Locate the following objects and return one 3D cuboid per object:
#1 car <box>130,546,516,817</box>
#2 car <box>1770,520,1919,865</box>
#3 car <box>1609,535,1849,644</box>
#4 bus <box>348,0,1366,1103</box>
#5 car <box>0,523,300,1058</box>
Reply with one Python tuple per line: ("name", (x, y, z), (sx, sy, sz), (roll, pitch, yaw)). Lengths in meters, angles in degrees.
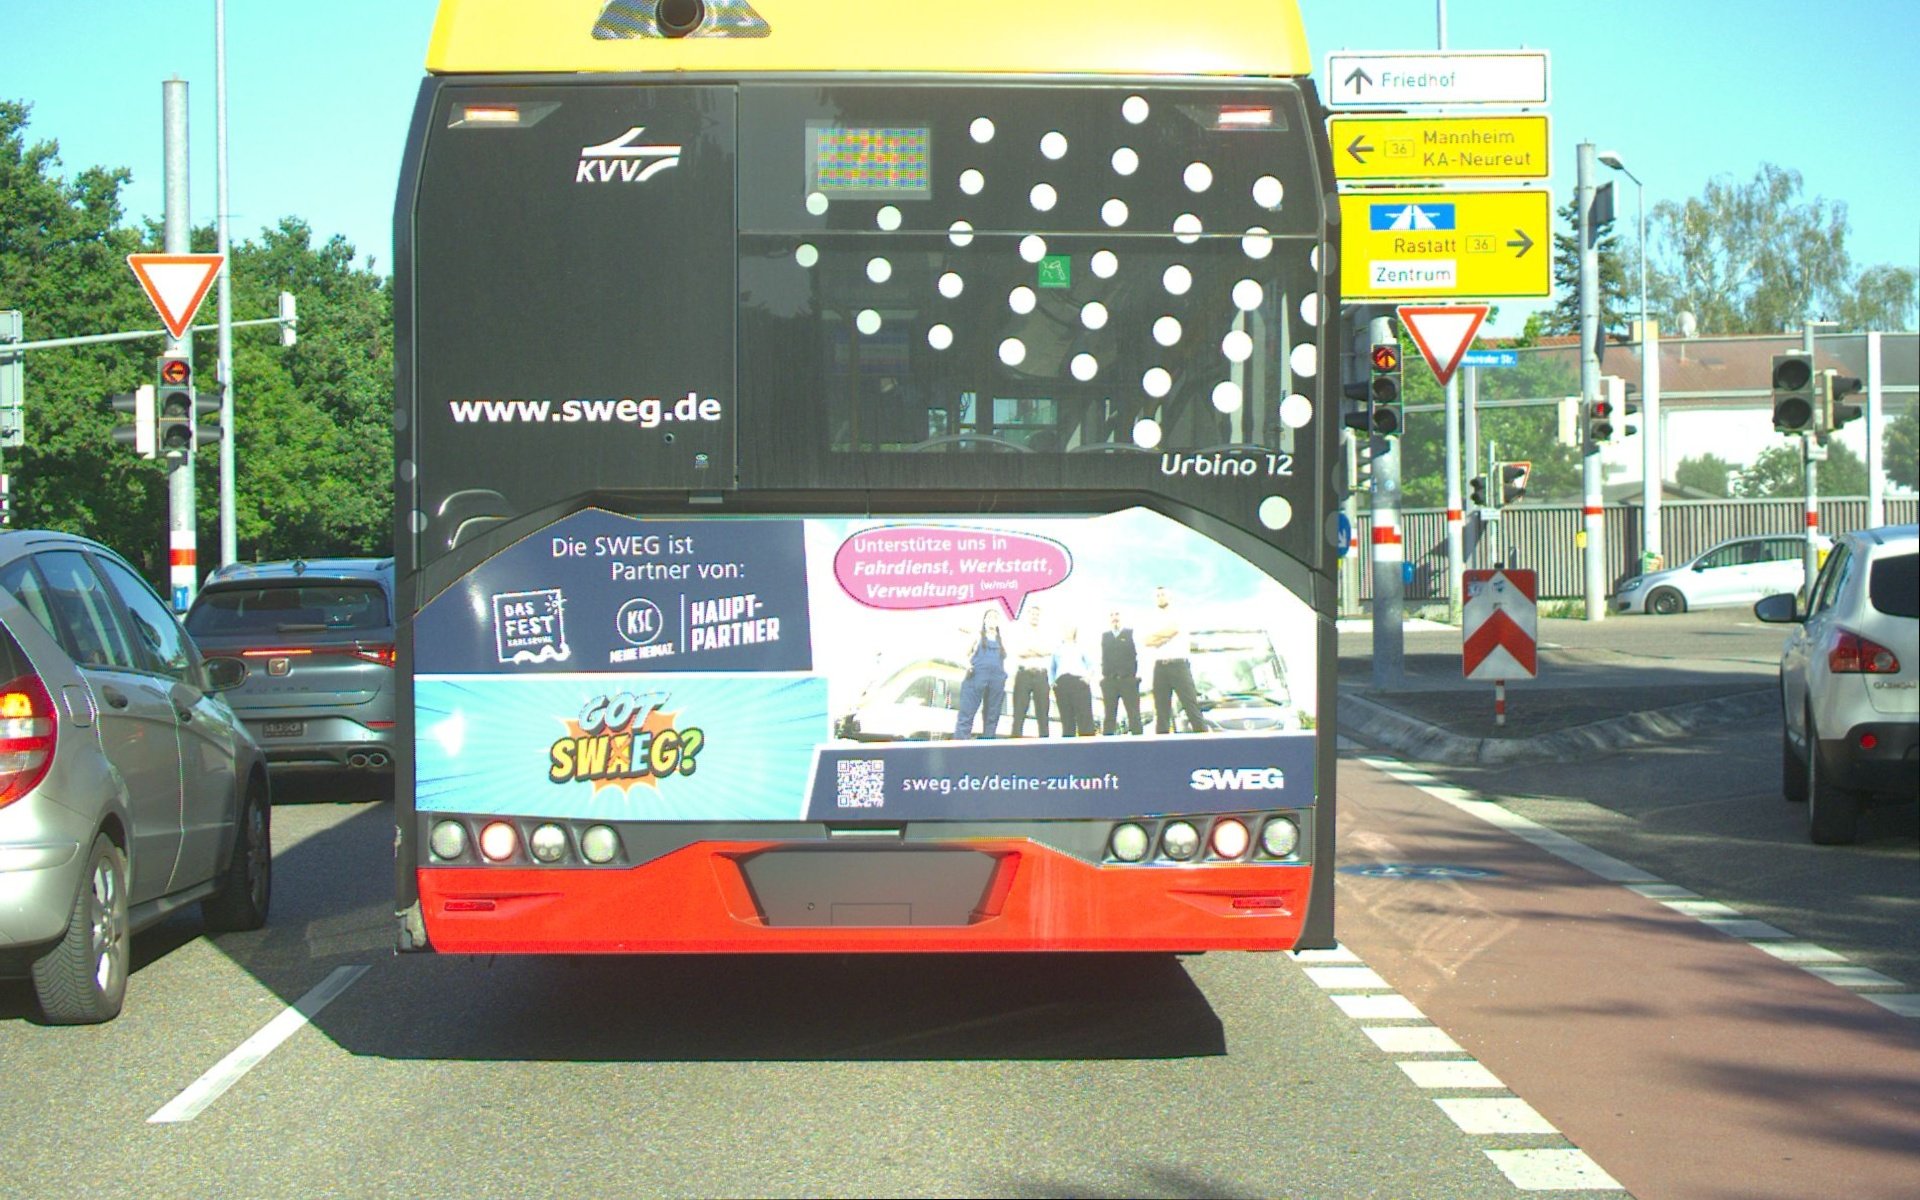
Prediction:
("car", (-3.809, 0.427, 21.133), (1.692, 1.453, 3.751), (-2, 1, -1))
("car", (5.226, 0.401, 17.933), (1.718, 1.602, 4.066), (1, 1, 10))
("car", (13.416, -0.190, 59.977), (3.989, 1.809, 1.922), (1, 0, 14))
("bus", (-0.289, -0.404, 14.900), (2.642, 3.156, 11.861), (0, 1, 0))
("car", (-3.601, 0.558, 12.202), (1.761, 1.584, 4.000), (-2, 1, -1))
